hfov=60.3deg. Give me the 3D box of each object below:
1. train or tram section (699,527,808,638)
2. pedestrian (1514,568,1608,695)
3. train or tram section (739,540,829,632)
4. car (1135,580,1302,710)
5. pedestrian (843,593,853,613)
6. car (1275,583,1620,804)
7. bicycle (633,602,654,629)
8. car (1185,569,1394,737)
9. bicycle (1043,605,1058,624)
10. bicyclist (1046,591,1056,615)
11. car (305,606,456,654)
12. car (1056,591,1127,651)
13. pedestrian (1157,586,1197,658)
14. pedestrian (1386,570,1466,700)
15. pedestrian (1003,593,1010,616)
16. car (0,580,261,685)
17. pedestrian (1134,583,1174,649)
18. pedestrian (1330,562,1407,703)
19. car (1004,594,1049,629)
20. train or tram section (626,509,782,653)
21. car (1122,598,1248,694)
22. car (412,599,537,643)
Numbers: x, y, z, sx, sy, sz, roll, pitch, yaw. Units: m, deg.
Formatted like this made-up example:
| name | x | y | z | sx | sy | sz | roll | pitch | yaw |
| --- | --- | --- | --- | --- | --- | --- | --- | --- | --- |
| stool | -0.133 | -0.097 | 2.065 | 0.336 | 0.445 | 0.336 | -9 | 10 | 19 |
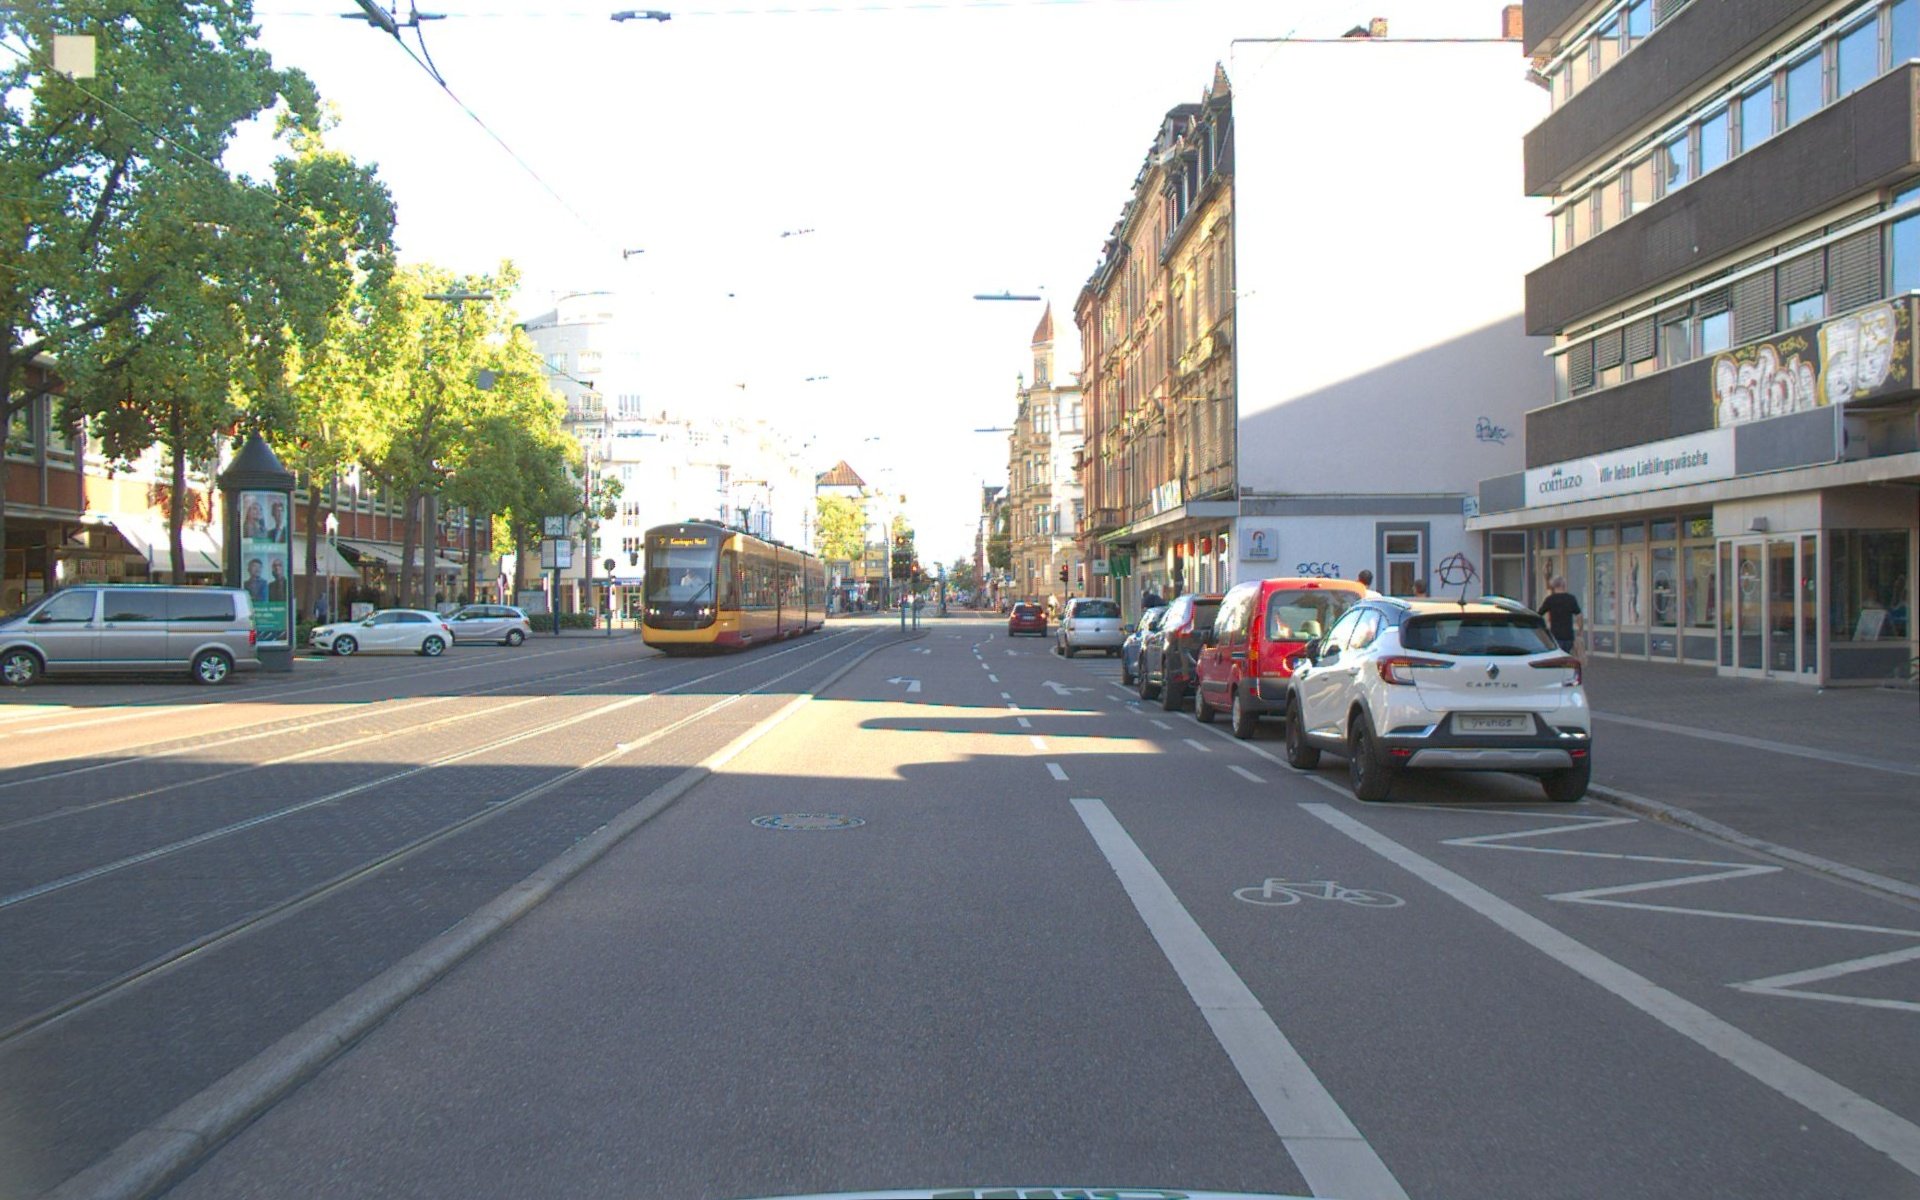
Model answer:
| name | x | y | z | sx | sy | sz | roll | pitch | yaw |
| --- | --- | --- | --- | --- | --- | --- | --- | --- | --- |
| train or tram section | -7.345 | -0.566 | 60.249 | 2.621 | 3.613 | 11.124 | -1 | 0 | -1 |
| pedestrian | 8.660 | 0.438 | 23.867 | 0.882 | 1.743 | 1.033 | -3 | 0 | -1 |
| train or tram section | -7.501 | -0.555 | 72.228 | 2.621 | 3.613 | 12.839 | -1 | 0 | -1 |
| car | 3.818 | 0.617 | 25.139 | 1.783 | 1.788 | 4.474 | 0 | 0 | -1 |
| pedestrian | -11.508 | 0.269 | 169.326 | 0.936 | 2.049 | 1.048 | -1 | 0 | 0 |
| car | 4.010 | 0.691 | 14.383 | 1.750 | 1.624 | 4.326 | 0 | 0 | 0 |
| bicycle | -16.680 | 0.819 | 87.170 | 0.657 | 1.350 | 1.907 | 2 | 0 | 2 |
| car | 3.920 | 0.574 | 20.343 | 1.641 | 1.840 | 4.247 | 0 | 0 | -1 |
| bicycle | 5.512 | 0.854 | 100.705 | 0.412 | 1.115 | 1.412 | -1 | 0 | 25 |
| bicyclist | 5.543 | 0.186 | 100.809 | 0.412 | 1.434 | 0.658 | -1 | 0 | 25 |
| car | -18.233 | 0.953 | 52.086 | 4.213 | 1.454 | 1.748 | 1 | -1 | -31 |
| car | 3.698 | 0.562 | 47.080 | 1.604 | 1.643 | 3.944 | 0 | 0 | -2 |
| pedestrian | 5.473 | 0.550 | 41.798 | 0.771 | 1.768 | 0.945 | -3 | -1 | -1 |
| pedestrian | 6.630 | 0.482 | 23.572 | 0.794 | 1.787 | 1.033 | -1 | 0 | -1 |
| pedestrian | 4.223 | 0.420 | 150.883 | 0.638 | 2.049 | 0.759 | -1 | 0 | -1 |
| car | -16.806 | 0.652 | 32.995 | 5.056 | 1.963 | 1.833 | 1 | -1 | -33 |
| pedestrian | 5.463 | 0.441 | 46.664 | 0.927 | 1.824 | 1.054 | -2 | 0 | -1 |
| pedestrian | 5.761 | 0.444 | 23.386 | 0.777 | 1.932 | 1.033 | -1 | 0 | -1 |
| car | 2.925 | 0.492 | 73.556 | 1.719 | 1.492 | 3.944 | 1 | 0 | -2 |
| train or tram section | -7.202 | -0.486 | 48.450 | 2.702 | 3.613 | 12.465 | -1 | 0 | -1 |
| car | 3.986 | 0.780 | 29.851 | 1.604 | 1.518 | 3.794 | 2 | 1 | -2 |
| car | -18.427 | 0.800 | 62.804 | 4.224 | 1.593 | 1.807 | 1 | -1 | -32 |
